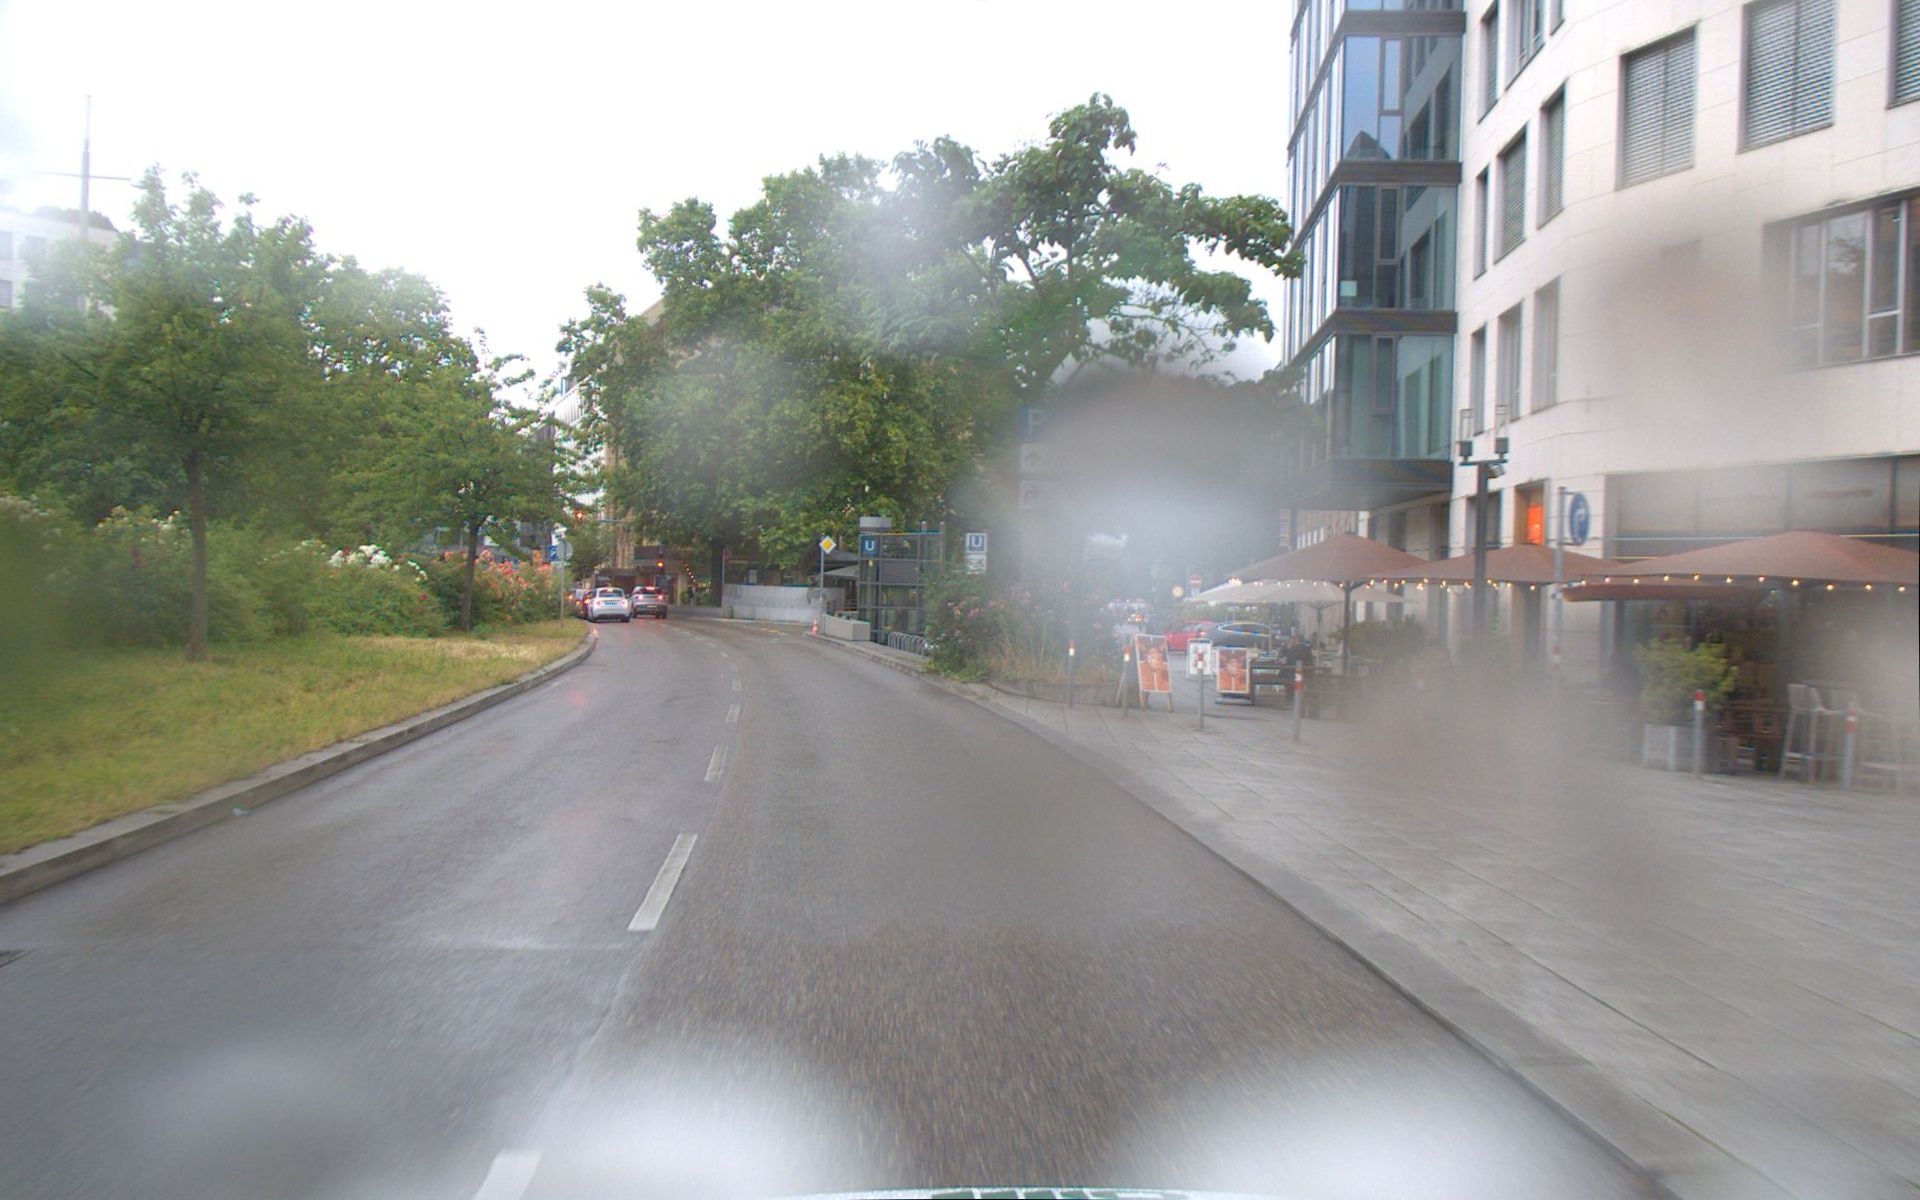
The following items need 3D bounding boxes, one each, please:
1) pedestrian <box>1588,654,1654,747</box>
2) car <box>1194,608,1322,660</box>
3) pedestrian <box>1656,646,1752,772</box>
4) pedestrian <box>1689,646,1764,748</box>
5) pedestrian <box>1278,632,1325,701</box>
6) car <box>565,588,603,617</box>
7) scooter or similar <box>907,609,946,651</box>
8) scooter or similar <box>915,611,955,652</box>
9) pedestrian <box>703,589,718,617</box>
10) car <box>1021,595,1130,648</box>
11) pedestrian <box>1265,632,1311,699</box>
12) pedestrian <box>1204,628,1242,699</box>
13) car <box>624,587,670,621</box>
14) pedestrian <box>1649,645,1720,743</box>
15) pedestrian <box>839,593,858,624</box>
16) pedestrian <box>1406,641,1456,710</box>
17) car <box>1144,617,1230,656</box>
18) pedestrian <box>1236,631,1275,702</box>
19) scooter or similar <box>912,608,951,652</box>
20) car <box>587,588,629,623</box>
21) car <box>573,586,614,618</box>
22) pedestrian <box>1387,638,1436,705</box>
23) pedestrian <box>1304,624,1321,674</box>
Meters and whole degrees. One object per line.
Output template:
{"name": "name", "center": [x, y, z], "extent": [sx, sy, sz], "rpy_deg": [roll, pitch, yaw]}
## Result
{"name": "pedestrian", "center": [10.125, 1.537, 25.358], "extent": [0.617, 1.349, 0.632], "rpy_deg": [4, -1, -18]}
{"name": "car", "center": [11.336, 1.291, 63.161], "extent": [4.635, 1.720, 2.006], "rpy_deg": [3, 0, 6]}
{"name": "pedestrian", "center": [8.510, 1.235, 18.936], "extent": [0.758, 1.349, 0.636], "rpy_deg": [4, -1, 1]}
{"name": "pedestrian", "center": [10.733, 1.350, 23.170], "extent": [0.617, 1.349, 0.632], "rpy_deg": [4, -1, -18]}
{"name": "pedestrian", "center": [7.089, 1.373, 34.350], "extent": [0.800, 1.349, 0.636], "rpy_deg": [4, -1, 2]}
{"name": "car", "center": [-19.687, 0.111, 86.512], "extent": [1.664, 1.488, 4.325], "rpy_deg": [-1, 1, -17]}
{"name": "scooter or similar", "center": [-1.032, 0.927, 51.141], "extent": [1.093, 1.256, 0.364], "rpy_deg": [2, 0, -13]}
{"name": "scooter or similar", "center": [-0.750, 0.935, 49.393], "extent": [1.093, 1.178, 0.442], "rpy_deg": [2, 0, -13]}
{"name": "pedestrian", "center": [-15.935, 0.197, 105.514], "extent": [0.844, 1.811, 0.715], "rpy_deg": [1, -1, -14]}
{"name": "car", "center": [4.431, 0.829, 63.755], "extent": [4.013, 1.649, 1.863], "rpy_deg": [5, -1, 1]}
{"name": "pedestrian", "center": [7.010, 1.391, 35.400], "extent": [0.800, 1.349, 0.636], "rpy_deg": [4, -1, 2]}
{"name": "pedestrian", "center": [5.207, 1.257, 32.753], "extent": [0.593, 1.349, 0.568], "rpy_deg": [4, -1, 2]}
{"name": "car", "center": [-16.721, 0.212, 88.220], "extent": [1.916, 1.695, 4.324], "rpy_deg": [2, -1, -17]}
{"name": "pedestrian", "center": [10.518, 1.354, 24.007], "extent": [0.617, 1.349, 0.632], "rpy_deg": [4, -1, -18]}
{"name": "pedestrian", "center": [-5.281, 0.406, 78.421], "extent": [0.673, 1.434, 0.902], "rpy_deg": [4, -1, -13]}
{"name": "pedestrian", "center": [9.751, 1.553, 34.247], "extent": [0.800, 1.349, 0.636], "rpy_deg": [4, -1, 2]}
{"name": "car", "center": [9.713, 1.568, 70.868], "extent": [1.597, 1.440, 3.482], "rpy_deg": [4, 0, -37]}
{"name": "pedestrian", "center": [5.841, 1.307, 32.710], "extent": [0.593, 1.349, 0.568], "rpy_deg": [4, -1, 2]}
{"name": "scooter or similar", "center": [-0.862, 0.907, 49.842], "extent": [1.093, 1.258, 0.364], "rpy_deg": [2, 0, -13]}
{"name": "car", "center": [-15.773, 0.214, 74.068], "extent": [1.565, 1.517, 3.488], "rpy_deg": [-1, 0, -17]}
{"name": "car", "center": [-17.873, 0.074, 80.573], "extent": [1.664, 1.488, 4.110], "rpy_deg": [-1, 0, -17]}
{"name": "pedestrian", "center": [9.590, 1.514, 35.163], "extent": [0.800, 1.349, 0.636], "rpy_deg": [4, -1, 2]}
{"name": "pedestrian", "center": [10.254, 1.424, 48.119], "extent": [0.425, 1.428, 0.478], "rpy_deg": [1, -1, 4]}
